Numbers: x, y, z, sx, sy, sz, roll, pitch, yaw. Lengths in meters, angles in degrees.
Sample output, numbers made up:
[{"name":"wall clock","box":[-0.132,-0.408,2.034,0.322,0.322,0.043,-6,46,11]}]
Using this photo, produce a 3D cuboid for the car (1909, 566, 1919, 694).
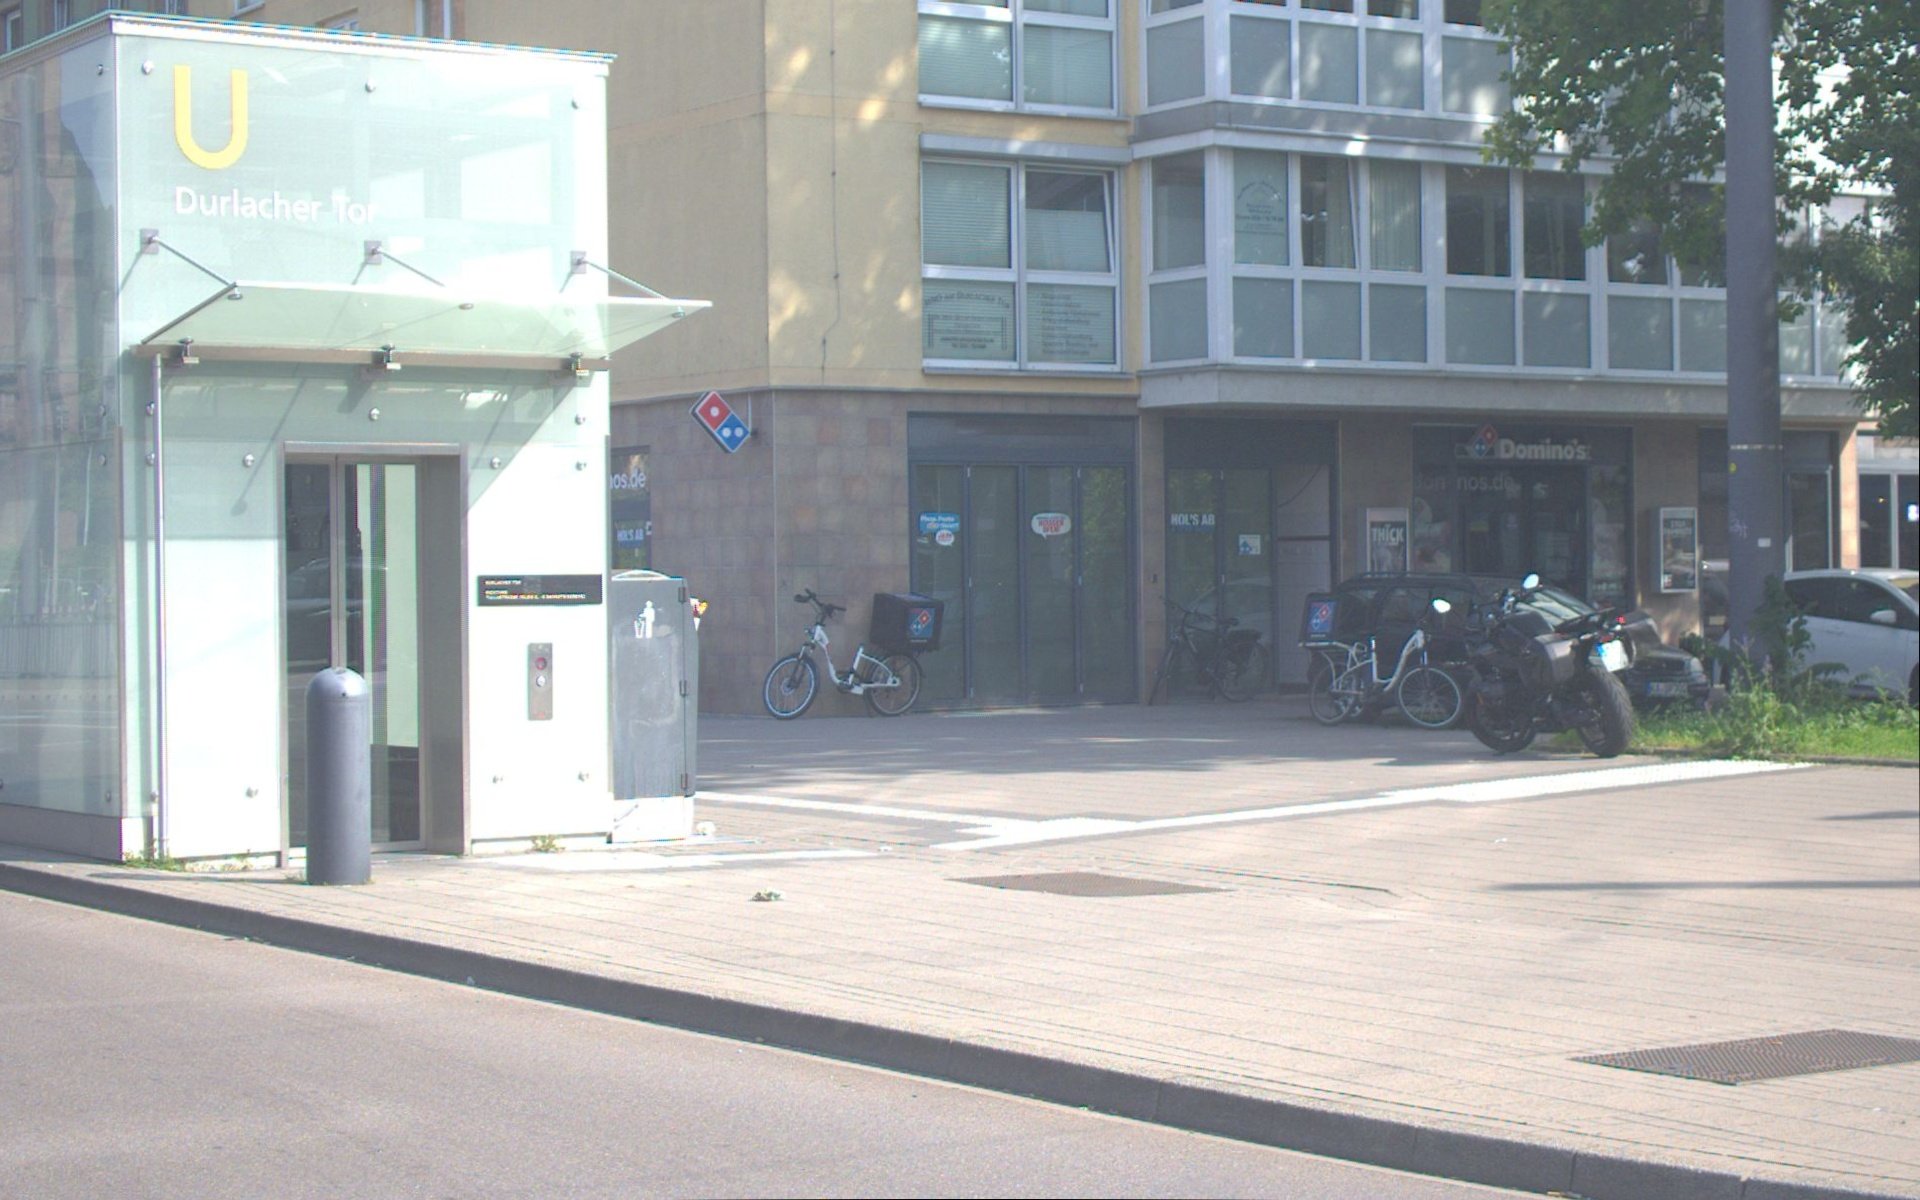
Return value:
[{"name":"car","box":[13.077,0.354,39.308,1.993,1.502,4.000,-1,0,-32]}]

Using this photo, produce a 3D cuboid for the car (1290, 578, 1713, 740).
[{"name":"car","box":[5.108,0.519,32.953,1.656,1.436,4.194,-1,0,-32]}]

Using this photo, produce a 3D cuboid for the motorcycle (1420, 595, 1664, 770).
[{"name":"motorcycle","box":[4.031,0.544,24.009,0.703,1.143,2.302,0,0,-17]}]

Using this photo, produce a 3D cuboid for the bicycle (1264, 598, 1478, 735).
[{"name":"bicycle","box":[3.810,0.597,32.072,0.523,1.230,2.301,-1,0,-37]}]

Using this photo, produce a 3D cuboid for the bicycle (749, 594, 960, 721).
[{"name":"bicycle","box":[-1.036,0.553,34.048,2.017,1.202,0.671,-1,1,-33]}]

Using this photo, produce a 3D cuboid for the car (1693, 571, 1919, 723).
[{"name":"car","box":[9.712,0.450,35.403,1.993,1.502,4.000,-1,0,-32]}]

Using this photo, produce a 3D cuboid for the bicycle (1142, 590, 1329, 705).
[{"name":"bicycle","box":[2.982,0.497,37.102,2.017,1.179,0.671,-1,1,-33]}]
